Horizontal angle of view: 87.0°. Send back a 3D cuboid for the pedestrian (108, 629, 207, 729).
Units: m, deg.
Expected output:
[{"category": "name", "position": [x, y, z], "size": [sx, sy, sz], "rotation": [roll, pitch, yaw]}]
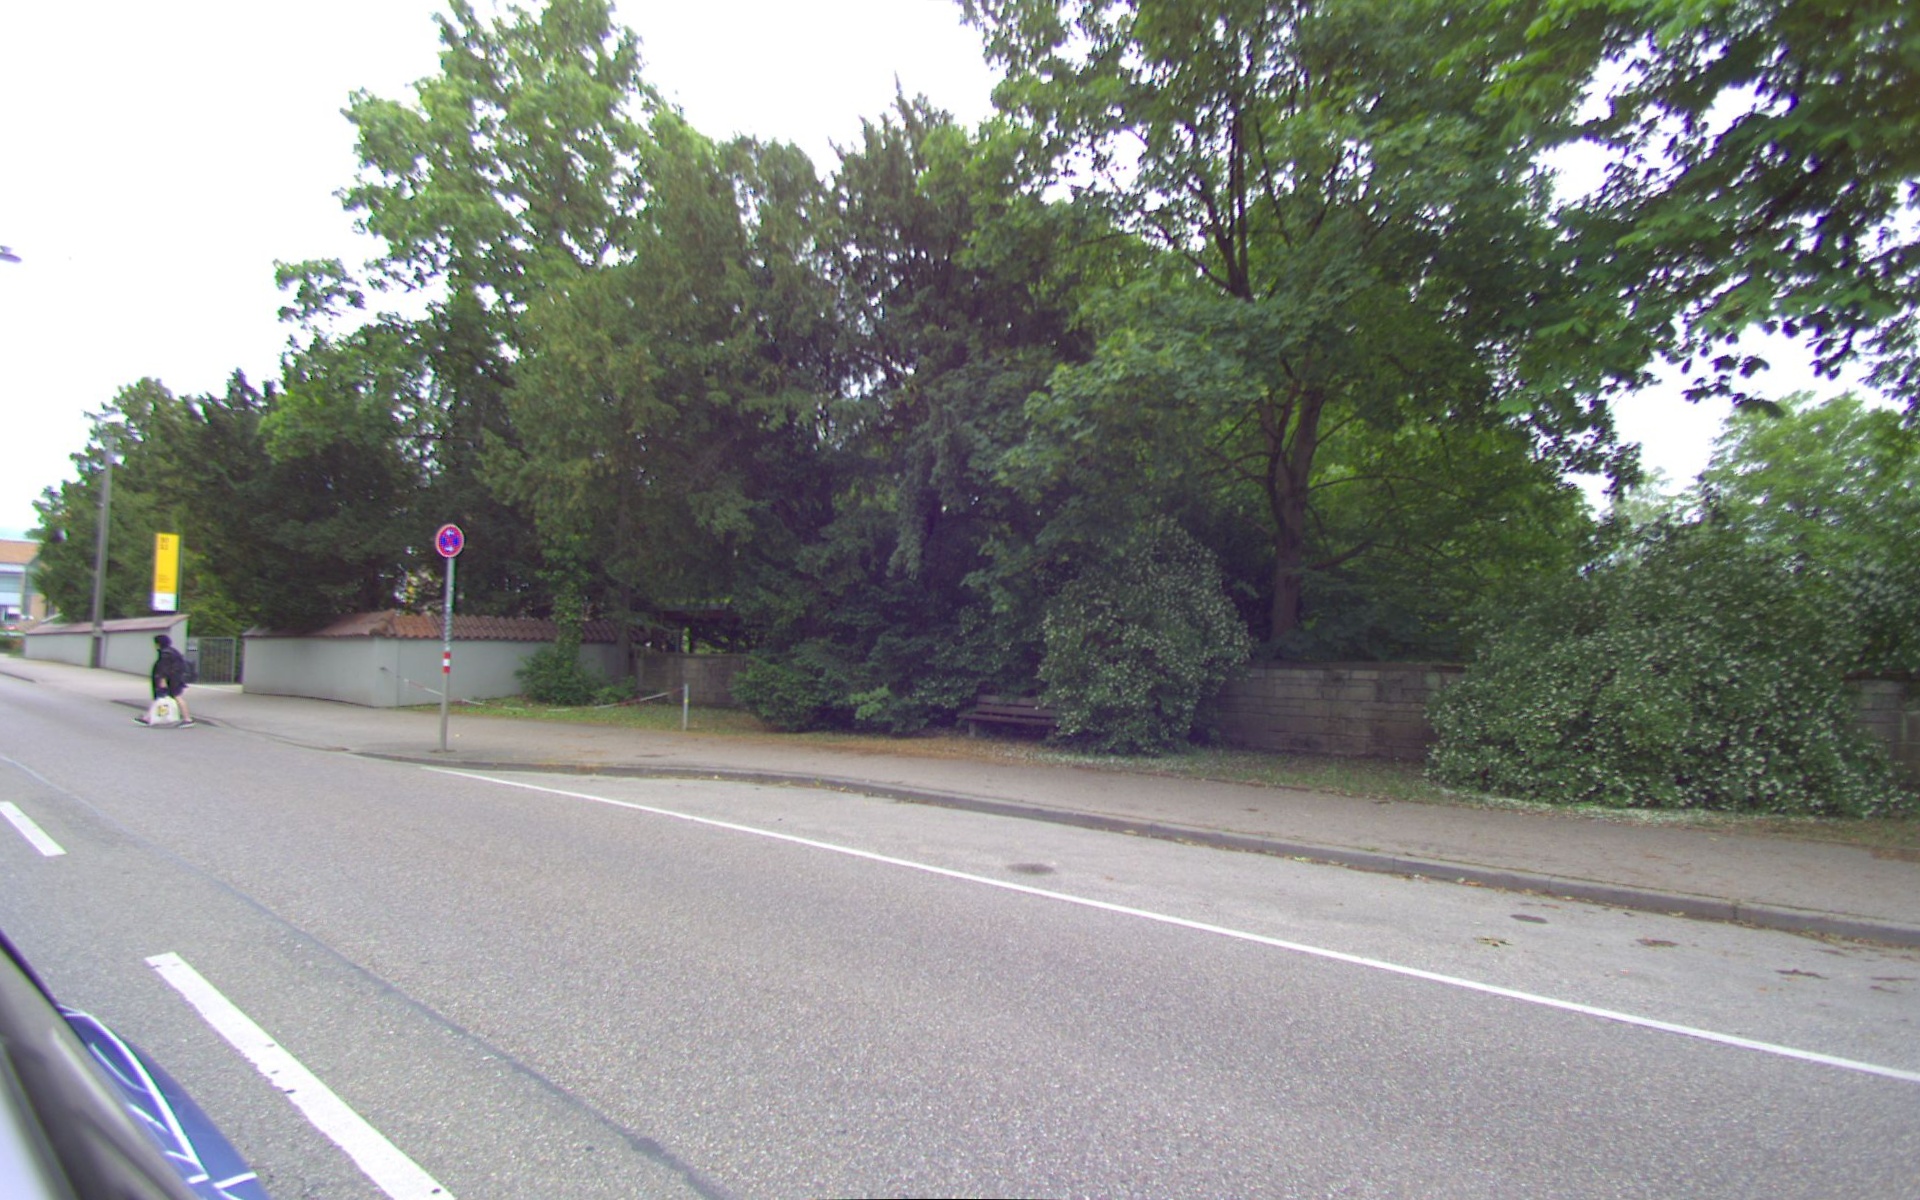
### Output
[{"category": "pedestrian", "position": [-13.202, 1.295, 16.693], "size": [0.887, 1.572, 0.931], "rotation": [3, -4, -15]}]
